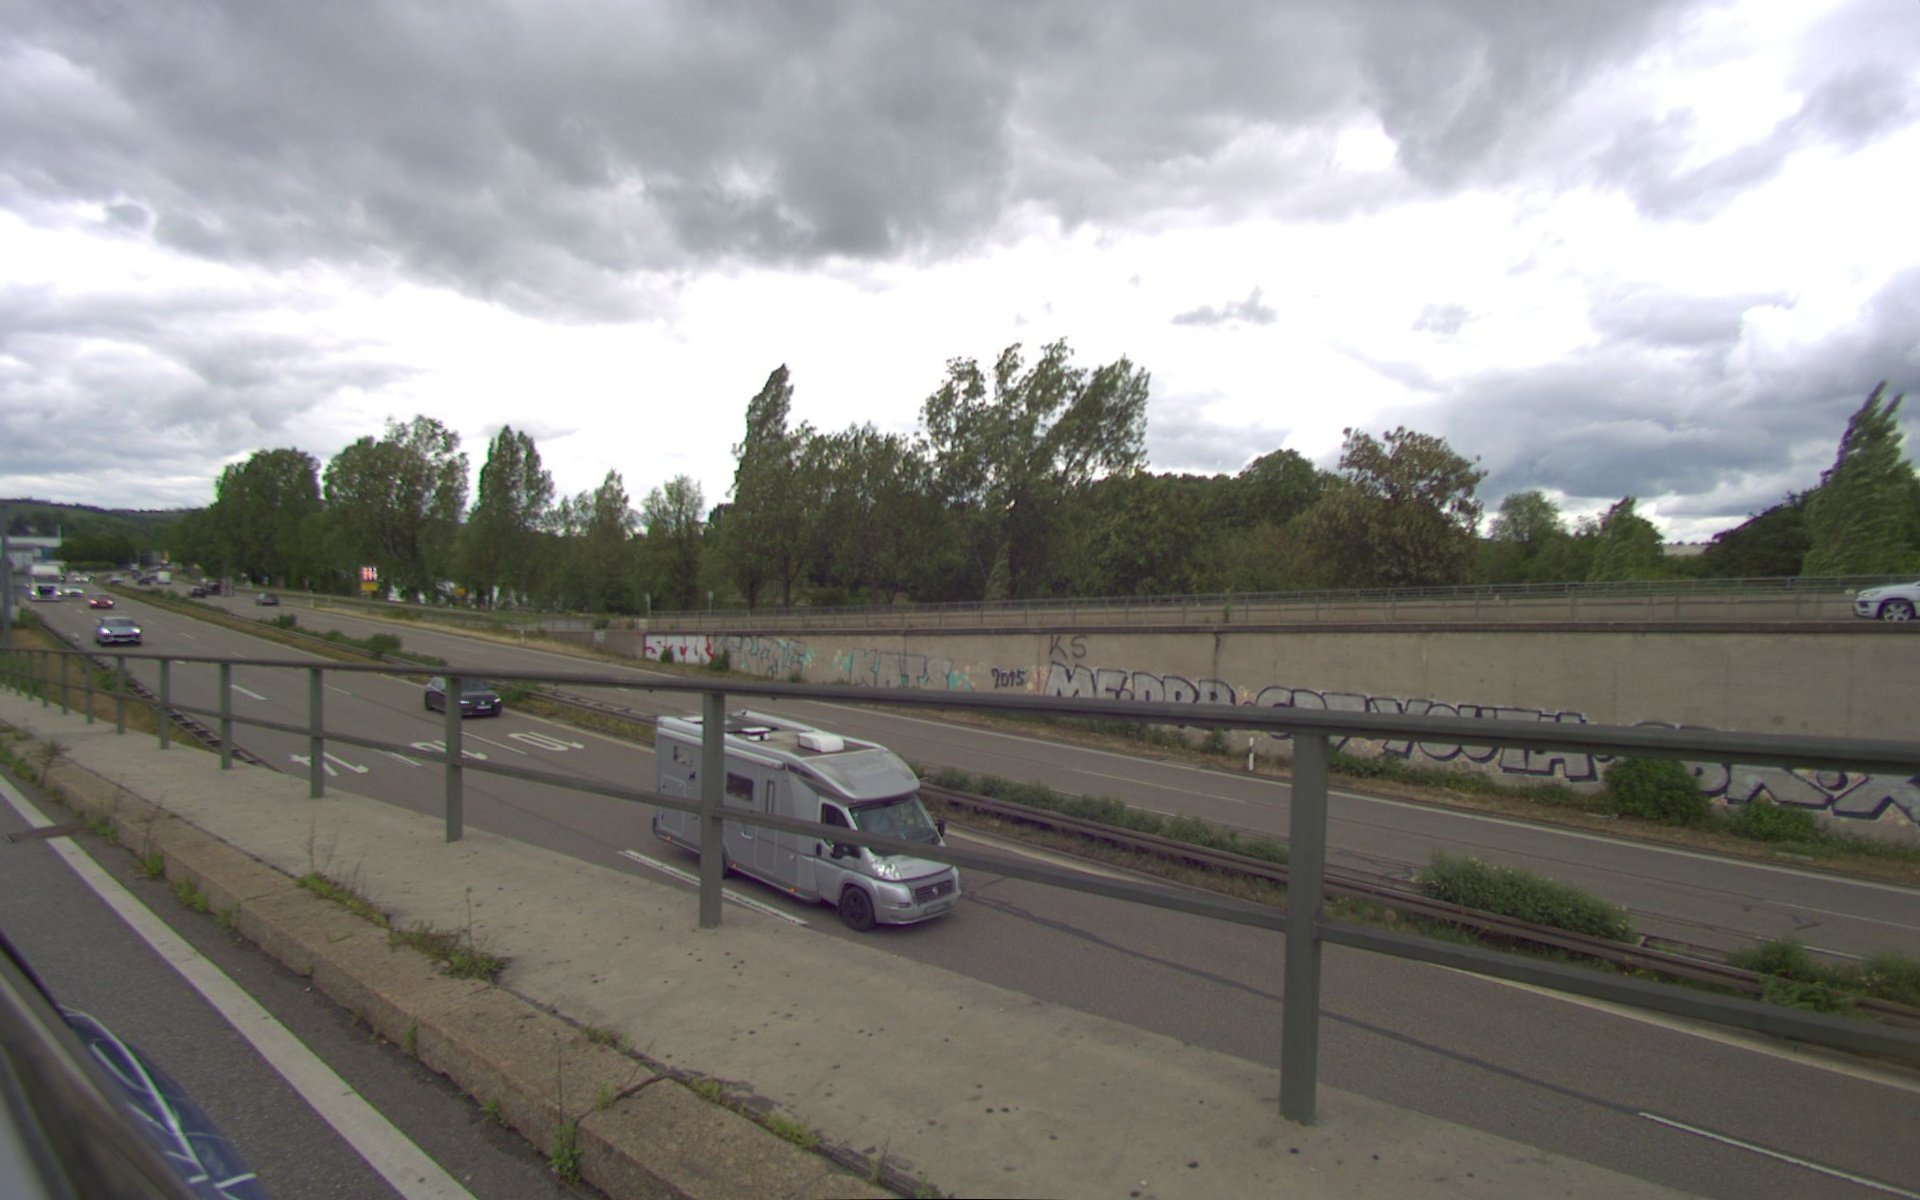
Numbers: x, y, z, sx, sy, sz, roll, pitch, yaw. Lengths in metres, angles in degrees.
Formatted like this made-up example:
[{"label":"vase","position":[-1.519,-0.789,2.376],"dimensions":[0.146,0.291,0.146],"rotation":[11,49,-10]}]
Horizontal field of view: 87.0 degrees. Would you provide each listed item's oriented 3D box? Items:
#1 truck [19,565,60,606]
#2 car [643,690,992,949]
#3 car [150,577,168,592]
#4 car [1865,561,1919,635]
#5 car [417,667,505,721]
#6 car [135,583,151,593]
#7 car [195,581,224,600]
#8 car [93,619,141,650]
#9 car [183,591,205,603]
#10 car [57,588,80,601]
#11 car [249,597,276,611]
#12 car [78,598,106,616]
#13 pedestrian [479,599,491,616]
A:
[{"label":"truck","position":[-101.854,-1.634,111.912],"dimensions":[6.698,4.283,2.722],"rotation":[3,1,43]},{"label":"car","position":[-3.058,3.783,19.493],"dimensions":[7.661,3.264,2.335],"rotation":[2,1,43]},{"label":"car","position":[-164.420,-3.213,207.704],"dimensions":[5.362,2.800,2.186],"rotation":[3,1,43]},{"label":"car","position":[25.954,-0.075,25.797],"dimensions":[4.211,1.884,1.973],"rotation":[-1,-1,41]},{"label":"car","position":[-19.731,3.657,39.952],"dimensions":[4.220,1.581,1.730],"rotation":[3,2,43]},{"label":"car","position":[-157.322,-2.328,194.842],"dimensions":[4.334,1.662,1.878],"rotation":[3,1,43]},{"label":"car","position":[-109.926,-1.383,148.175],"dimensions":[6.114,2.566,2.220],"rotation":[2,2,42]},{"label":"car","position":[-52.236,2.139,62.682],"dimensions":[4.280,1.813,1.820],"rotation":[-1,-1,43]},{"label":"car","position":[-101.363,-0.412,133.882],"dimensions":[3.859,1.512,1.645],"rotation":[3,1,43]},{"label":"car","position":[-112.361,-0.734,127.537],"dimensions":[4.279,1.429,1.894],"rotation":[4,3,44]},{"label":"car","position":[-81.278,0.437,117.903],"dimensions":[4.111,1.386,1.692],"rotation":[3,1,43]},{"label":"car","position":[-85.530,0.663,99.758],"dimensions":[4.167,1.451,1.732],"rotation":[5,3,44]},{"label":"pedestrian","position":[-51.936,0.820,110.625],"dimensions":[1.078,1.717,0.820],"rotation":[3,3,43]}]
